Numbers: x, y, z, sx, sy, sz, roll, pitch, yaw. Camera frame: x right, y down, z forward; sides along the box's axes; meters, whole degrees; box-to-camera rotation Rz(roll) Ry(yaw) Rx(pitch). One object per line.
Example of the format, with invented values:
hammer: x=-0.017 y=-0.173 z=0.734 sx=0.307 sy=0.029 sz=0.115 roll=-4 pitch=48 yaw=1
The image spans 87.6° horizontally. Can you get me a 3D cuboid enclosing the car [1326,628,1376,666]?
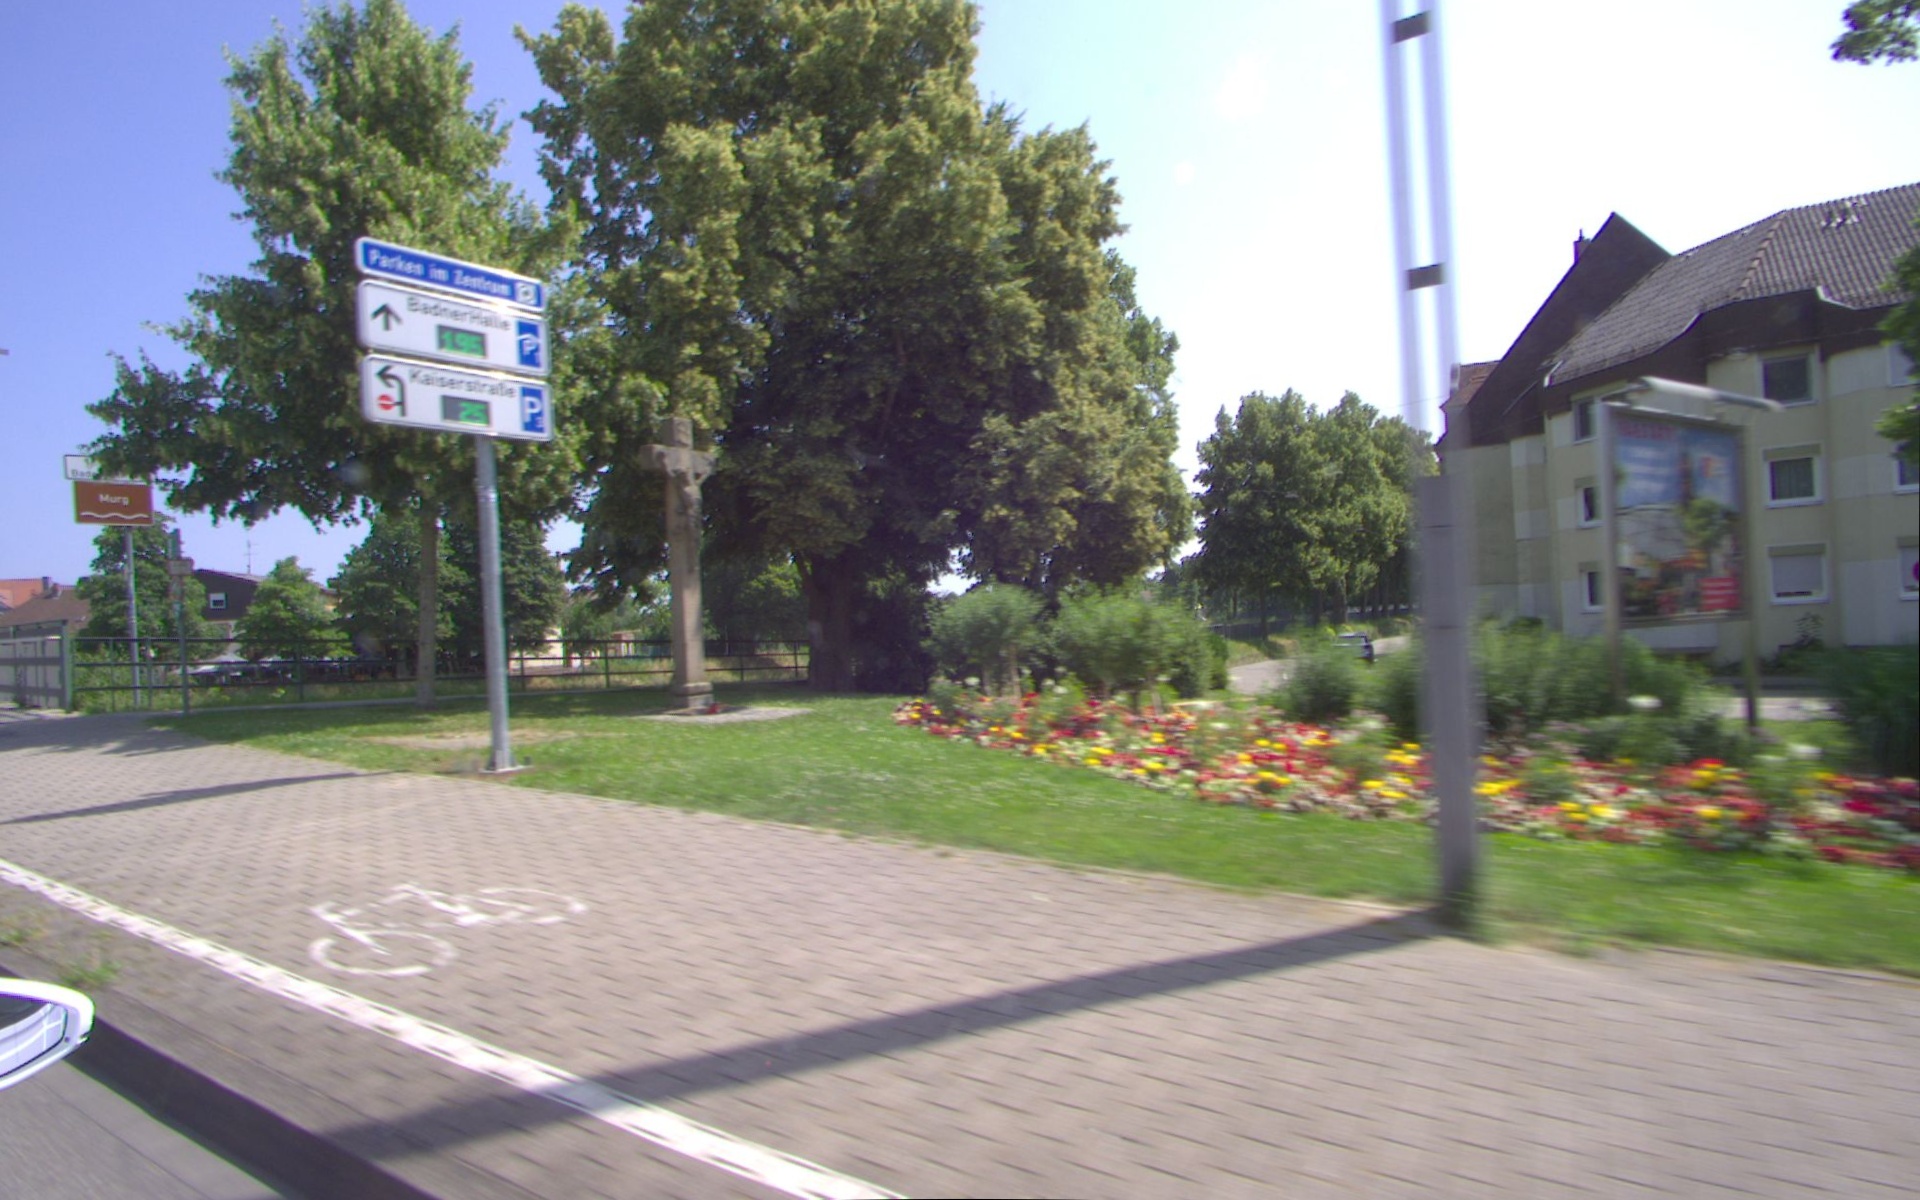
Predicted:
car: x=17.261 y=2.061 z=44.253 sx=1.867 sy=1.518 sz=4.521 roll=-3 pitch=-3 yaw=21

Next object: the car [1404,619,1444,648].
car: x=26.993 y=1.977 z=58.217 sx=1.801 sy=1.571 sz=3.985 roll=-2 pitch=-3 yaw=29
